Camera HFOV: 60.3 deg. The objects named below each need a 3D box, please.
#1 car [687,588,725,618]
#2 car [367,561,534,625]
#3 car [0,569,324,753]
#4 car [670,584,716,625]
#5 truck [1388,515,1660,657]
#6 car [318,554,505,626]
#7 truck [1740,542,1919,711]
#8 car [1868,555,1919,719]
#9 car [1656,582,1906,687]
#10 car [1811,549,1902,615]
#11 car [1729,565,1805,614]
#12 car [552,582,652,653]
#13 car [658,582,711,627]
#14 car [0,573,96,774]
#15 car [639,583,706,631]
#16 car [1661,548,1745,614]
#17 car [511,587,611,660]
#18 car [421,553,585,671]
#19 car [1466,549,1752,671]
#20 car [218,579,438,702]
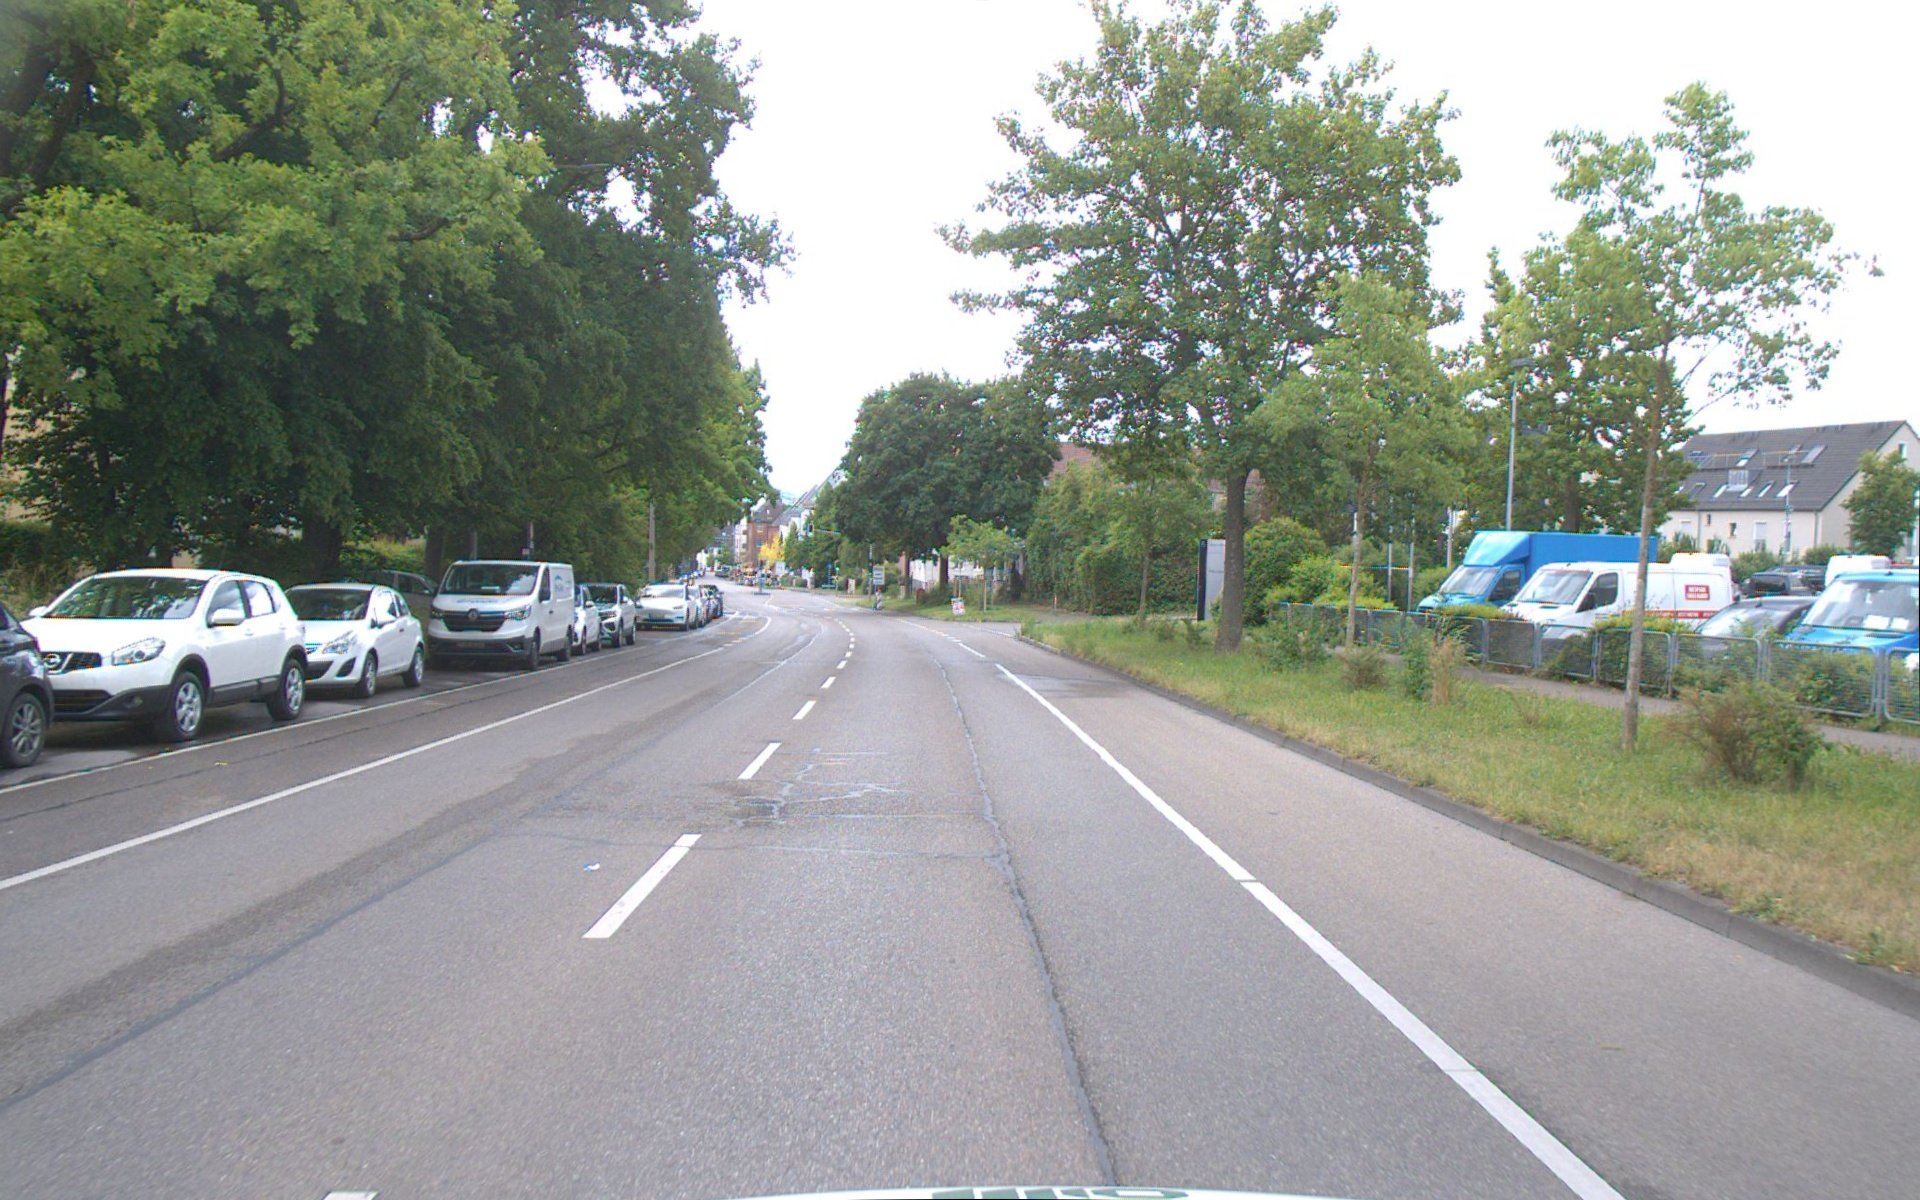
[{"bbox_3d":[-12.332,0.126,80.343,1.683,1.413,4.331,1,0,-7],"label":"car"},{"bbox_3d":[-15.317,-0.220,49.875,4.343,1.479,1.887,5,0,0],"label":"car"},{"bbox_3d":[-7.947,0.518,16.559,1.639,1.592,4.279,1,0,-2],"label":"car"},{"bbox_3d":[-11.145,0.169,69.246,1.683,1.600,4.364,2,0,-7],"label":"car"},{"bbox_3d":[15.016,-0.350,43.919,7.075,3.538,2.598,1,1,-26],"label":"truck"},{"bbox_3d":[-14.709,-0.264,44.537,4.349,1.475,1.866,6,0,-7],"label":"car"},{"bbox_3d":[14.554,0.414,24.549,6.165,2.251,2.225,2,0,-30],"label":"truck"},{"bbox_3d":[14.422,0.541,20.929,5.730,1.991,2.057,2,0,-24],"label":"car"},{"bbox_3d":[14.204,0.595,28.598,3.943,1.658,1.981,2,0,-29],"label":"car"},{"bbox_3d":[39.396,-0.828,72.620,2.223,2.723,5.416,2,3,42],"label":"car"},{"bbox_3d":[35.641,-0.518,73.025,2.026,1.989,4.478,2,3,39],"label":"car"},{"bbox_3d":[-8.959,0.400,41.664,1.731,1.662,4.156,1,0,-2],"label":"car"},{"bbox_3d":[-10.567,0.168,63.674,1.833,1.600,4.113,2,0,-7],"label":"car"},{"bbox_3d":[-8.033,0.559,11.768,1.639,1.514,4.045,0,0,0],"label":"car"},{"bbox_3d":[-10.094,0.233,58.360,1.732,1.600,4.757,0,0,-3],"label":"car"},{"bbox_3d":[33.151,-0.905,73.710,2.219,2.723,5.428,2,3,37],"label":"car"},{"bbox_3d":[-8.824,0.488,36.796,1.550,1.507,3.717,1,0,-4],"label":"car"},{"bbox_3d":[-8.456,0.195,31.098,1.829,1.998,5.124,1,0,-2],"label":"car"},{"bbox_3d":[14.118,0.238,35.924,5.934,2.408,2.344,2,0,-25],"label":"car"},{"bbox_3d":[-8.488,0.502,22.579,1.629,1.505,4.087,1,0,-3],"label":"car"}]
